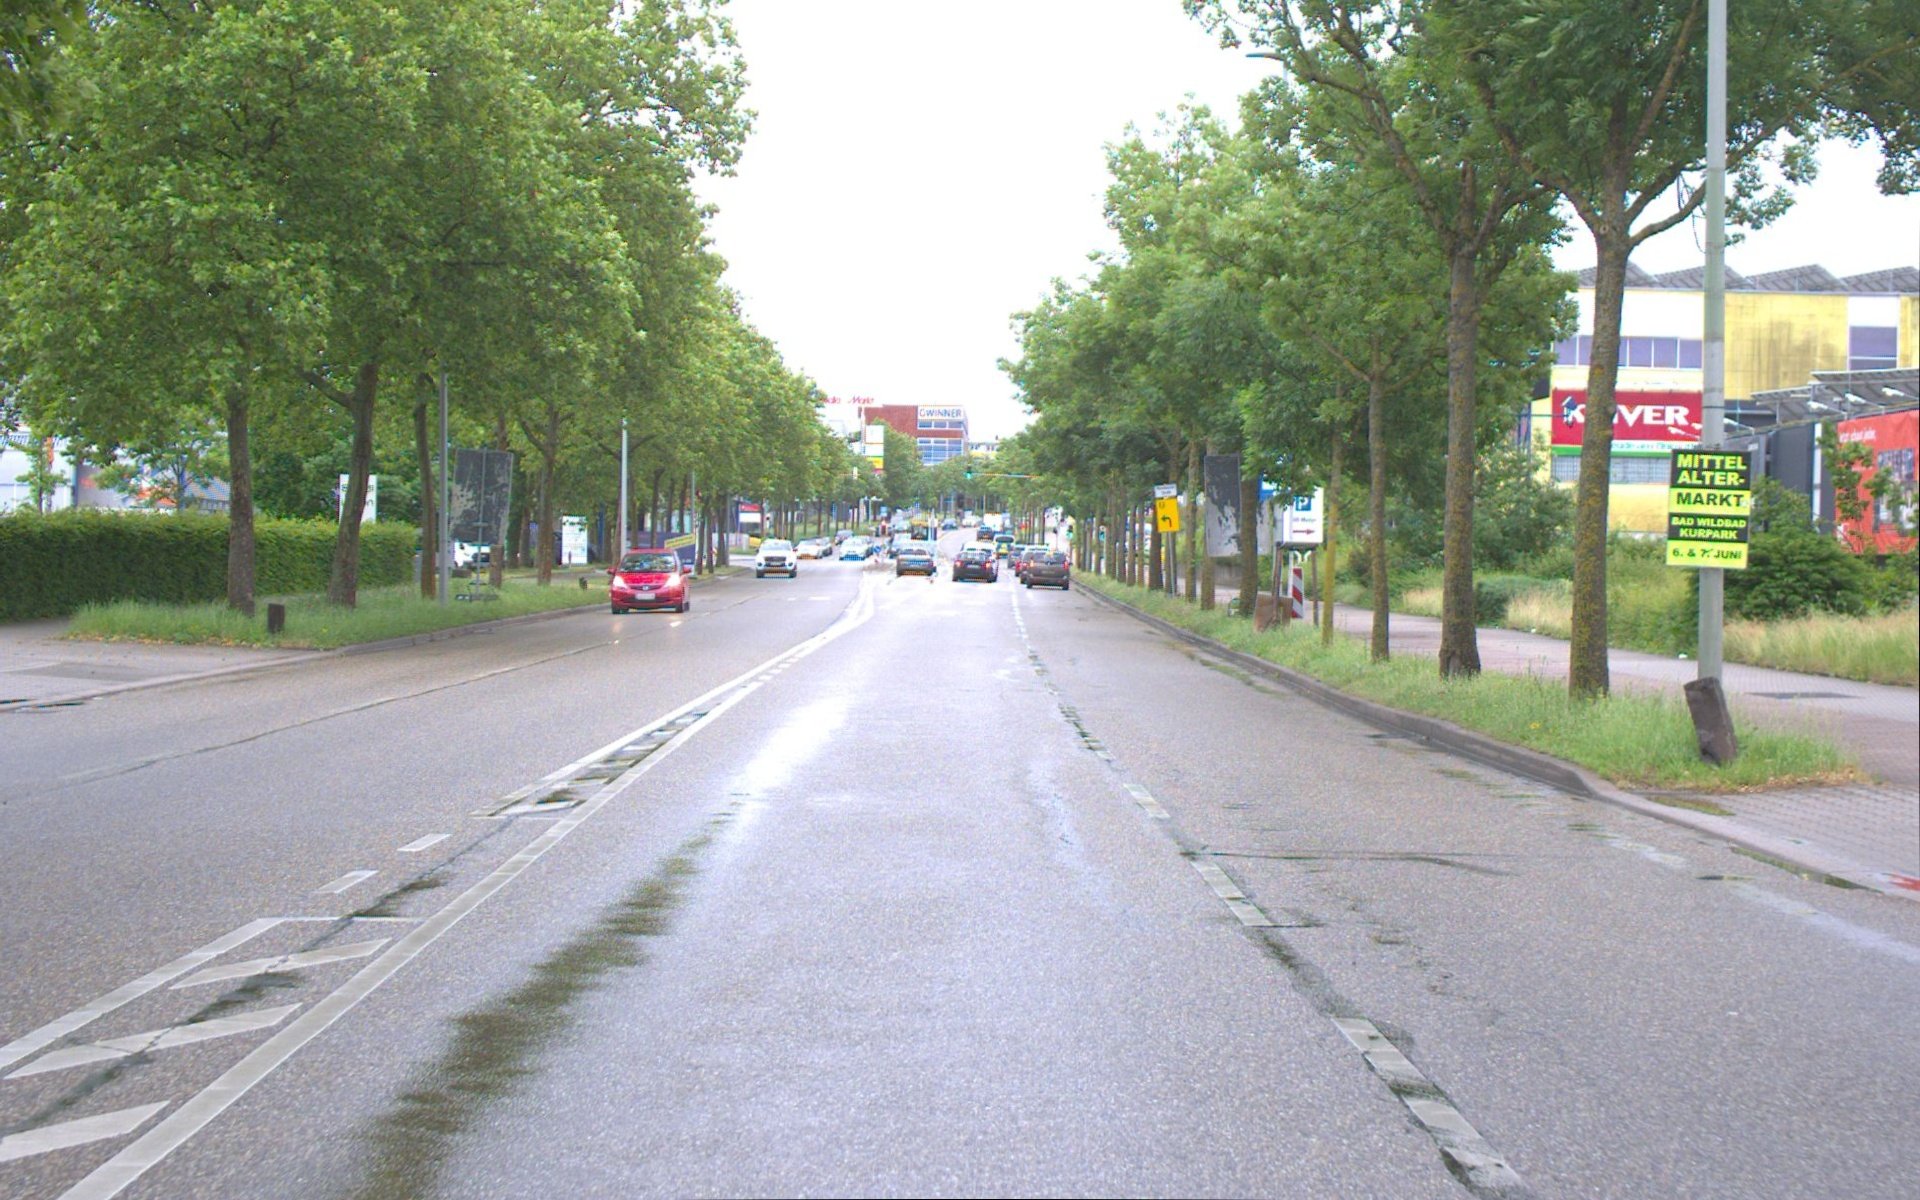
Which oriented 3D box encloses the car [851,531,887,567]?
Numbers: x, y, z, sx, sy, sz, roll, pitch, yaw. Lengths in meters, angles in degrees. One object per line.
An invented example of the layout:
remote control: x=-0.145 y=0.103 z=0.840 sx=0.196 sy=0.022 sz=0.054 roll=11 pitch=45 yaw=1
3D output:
car: x=-5.221 y=-2.932 z=197.117 sx=1.993 sy=2.007 sz=4.000 roll=0 pitch=1 yaw=0

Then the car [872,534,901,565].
car: x=-4.838 y=-3.321 z=225.818 sx=1.827 sy=2.007 sz=4.000 roll=0 pitch=1 yaw=-2

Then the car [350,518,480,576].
car: x=-18.015 y=-1.750 z=113.810 sx=3.987 sy=1.918 sz=1.826 roll=0 pitch=0 yaw=1

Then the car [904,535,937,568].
car: x=-2.276 y=-2.809 z=198.604 sx=1.891 sy=1.870 sz=4.124 roll=0 pitch=1 yaw=0

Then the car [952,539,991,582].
car: x=0.545 y=-1.861 z=161.162 sx=1.745 sy=2.007 sz=4.000 roll=0 pitch=1 yaw=2

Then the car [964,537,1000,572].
car: x=1.113 y=-2.320 z=174.566 sx=1.745 sy=1.731 sz=4.000 roll=0 pitch=1 yaw=2

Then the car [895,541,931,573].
car: x=-2.503 y=-2.315 z=183.835 sx=1.745 sy=1.695 sz=4.000 roll=0 pitch=1 yaw=2

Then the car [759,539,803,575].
car: x=-8.610 y=-2.077 z=165.348 sx=1.704 sy=1.731 sz=4.000 roll=0 pitch=1 yaw=3

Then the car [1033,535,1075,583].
car: x=3.992 y=-1.765 z=146.317 sx=1.745 sy=2.007 sz=4.000 roll=0 pitch=1 yaw=2

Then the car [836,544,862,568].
car: x=-8.057 y=-3.162 z=249.326 sx=1.827 sy=1.722 sz=4.000 roll=0 pitch=1 yaw=-2

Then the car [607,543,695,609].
car: x=-7.310 y=-0.582 z=81.685 sx=1.726 sy=1.512 sz=3.821 roll=0 pitch=1 yaw=0
